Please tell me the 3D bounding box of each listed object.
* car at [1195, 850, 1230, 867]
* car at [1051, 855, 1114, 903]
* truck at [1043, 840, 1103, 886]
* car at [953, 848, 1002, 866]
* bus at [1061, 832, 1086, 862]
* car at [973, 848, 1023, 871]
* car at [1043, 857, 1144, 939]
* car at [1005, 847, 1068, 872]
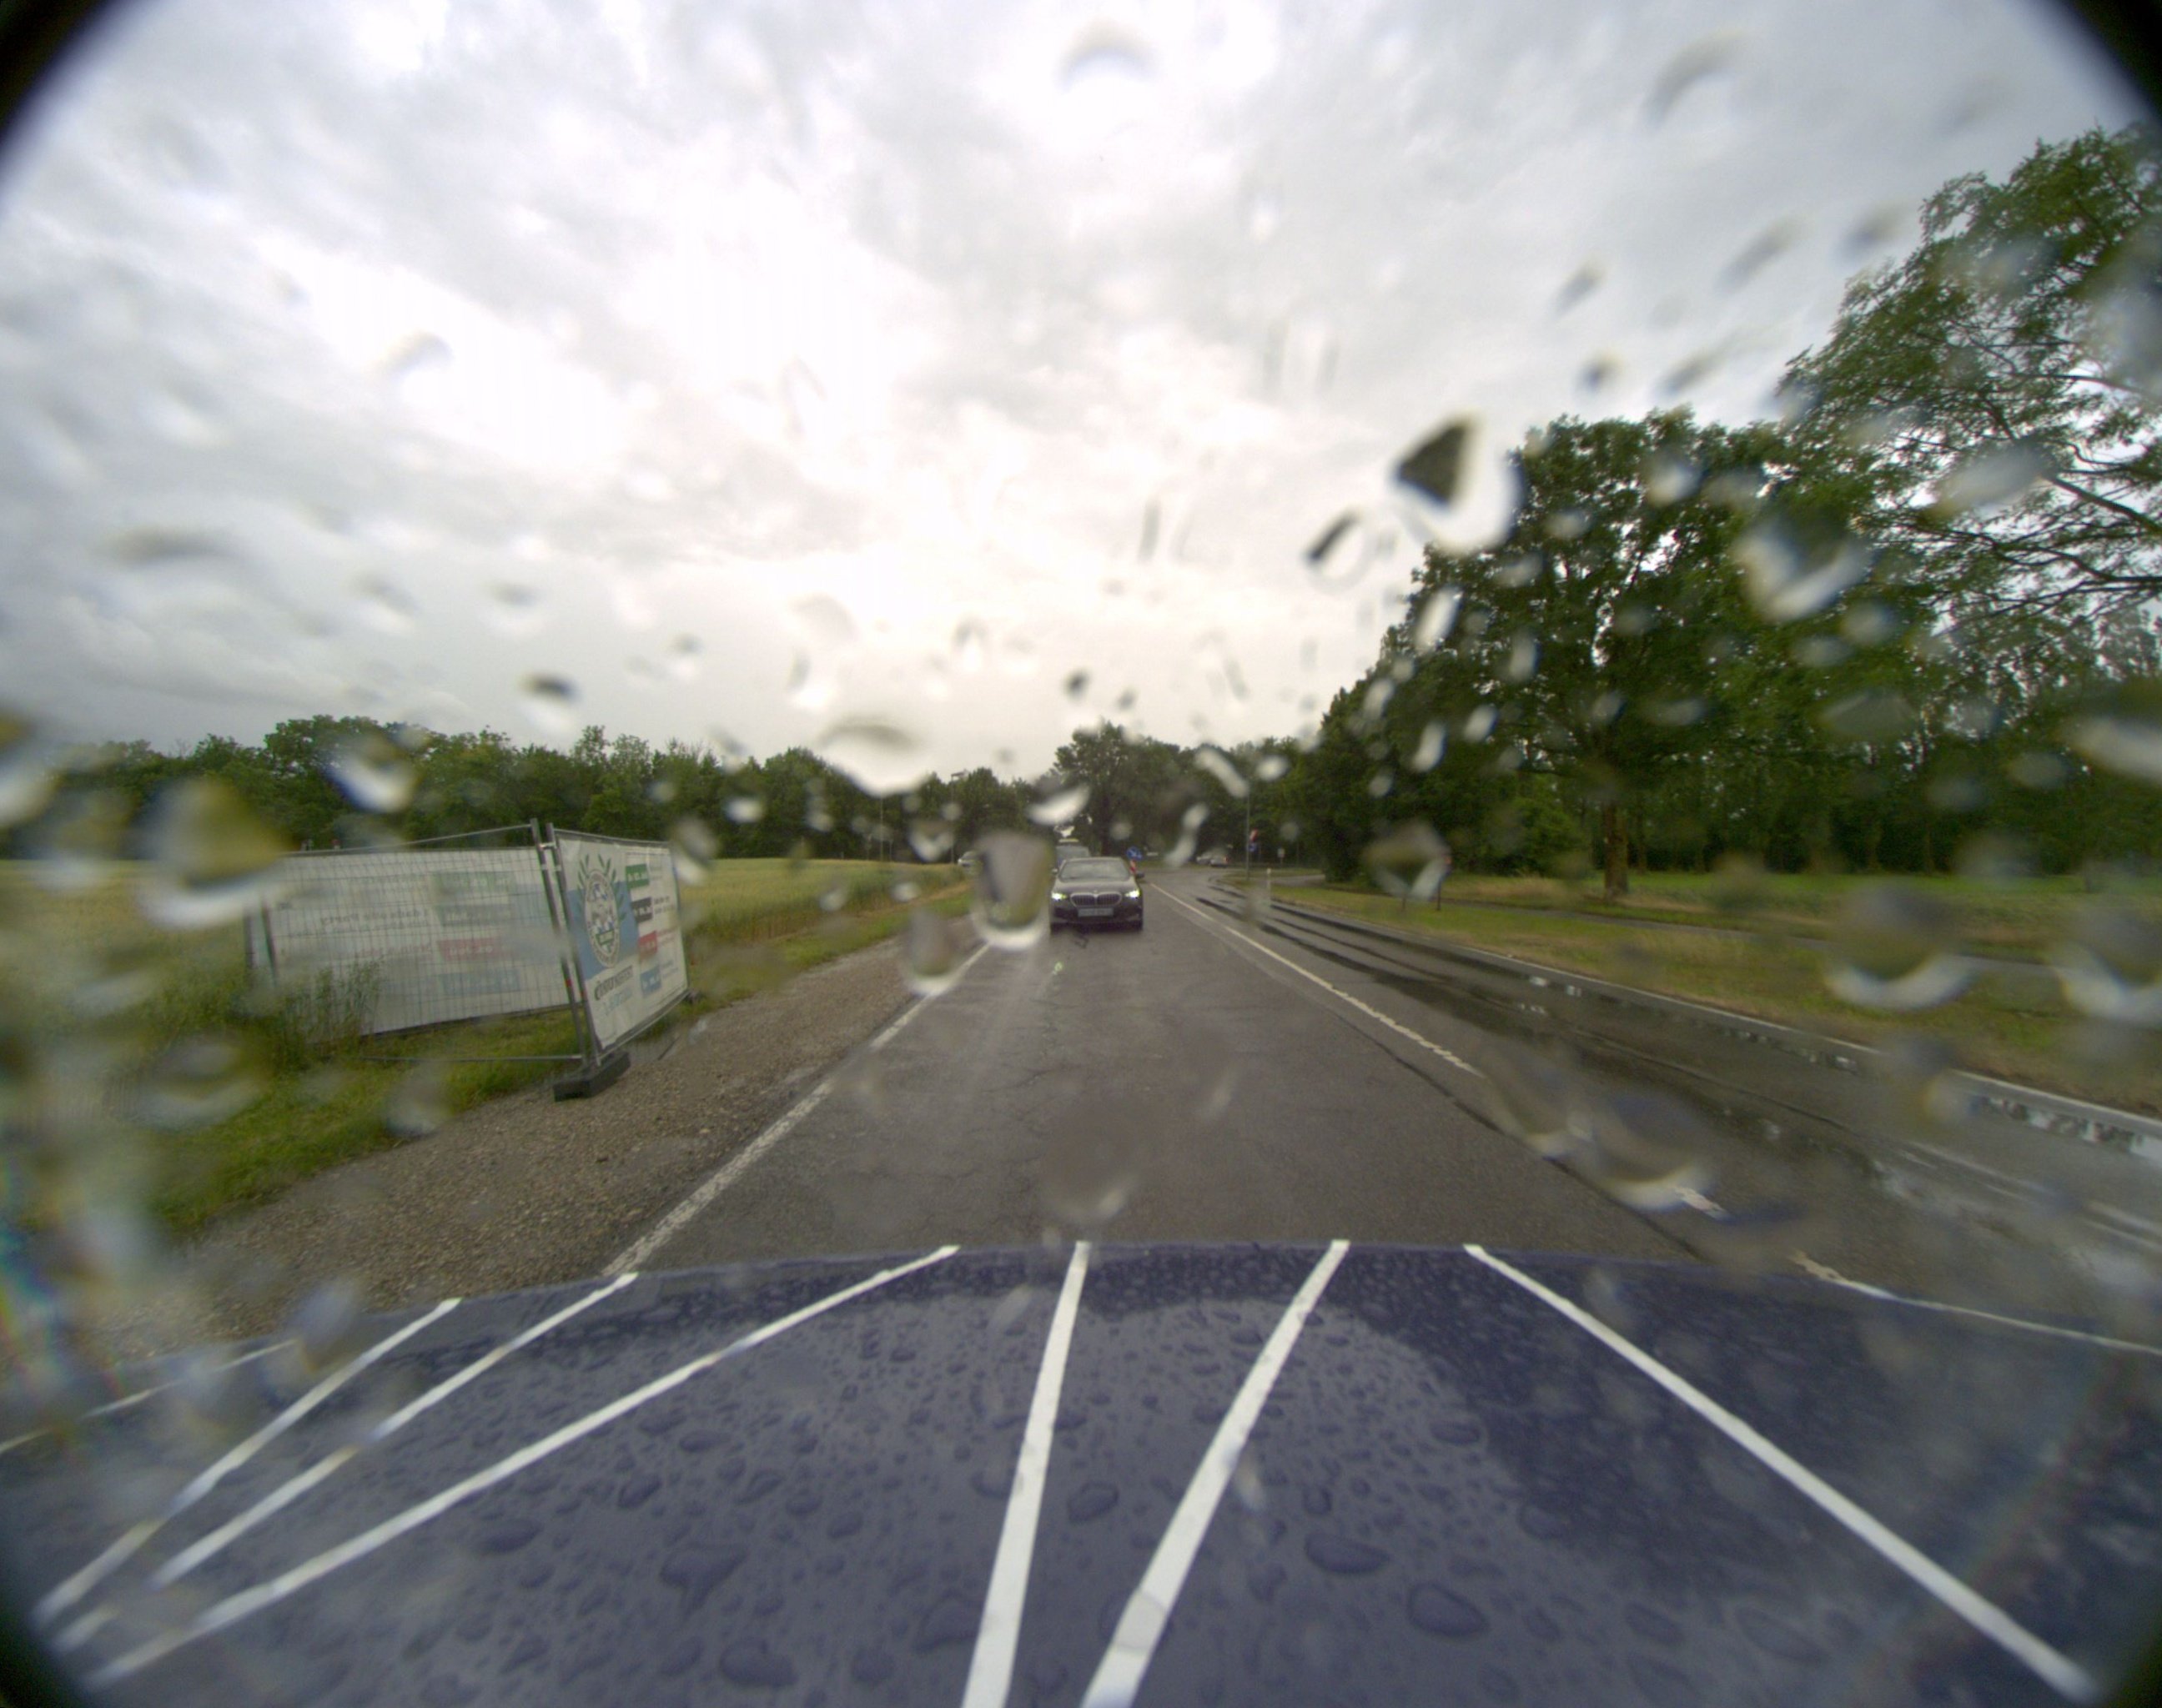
[{"bbox_3d":[12.073,0.395,70.099,1.682,1.490,3.728,1,0,-17],"label":"car"},{"bbox_3d":[-0.029,0.797,26.464,1.892,1.482,4.190,-2,0,-3],"label":"car"},{"bbox_3d":[-0.533,0.366,38.985,2.077,2.050,5.762,-3,2,-10],"label":"truck"},{"bbox_3d":[-9.454,0.271,69.480,1.888,1.522,4.511,-1,1,33],"label":"car"},{"bbox_3d":[-0.917,-0.863,99.694,2.996,3.665,14.293,0,0,0],"label":"bus"},{"bbox_3d":[-6.085,0.395,54.993,1.896,1.522,4.491,-2,1,-30],"label":"car"},{"bbox_3d":[0.208,0.840,16.450,1.892,1.484,4.035,-1,0,-1],"label":"car"},{"bbox_3d":[-2.983,0.372,49.643,1.896,1.522,5.243,-2,1,-30],"label":"car"}]
